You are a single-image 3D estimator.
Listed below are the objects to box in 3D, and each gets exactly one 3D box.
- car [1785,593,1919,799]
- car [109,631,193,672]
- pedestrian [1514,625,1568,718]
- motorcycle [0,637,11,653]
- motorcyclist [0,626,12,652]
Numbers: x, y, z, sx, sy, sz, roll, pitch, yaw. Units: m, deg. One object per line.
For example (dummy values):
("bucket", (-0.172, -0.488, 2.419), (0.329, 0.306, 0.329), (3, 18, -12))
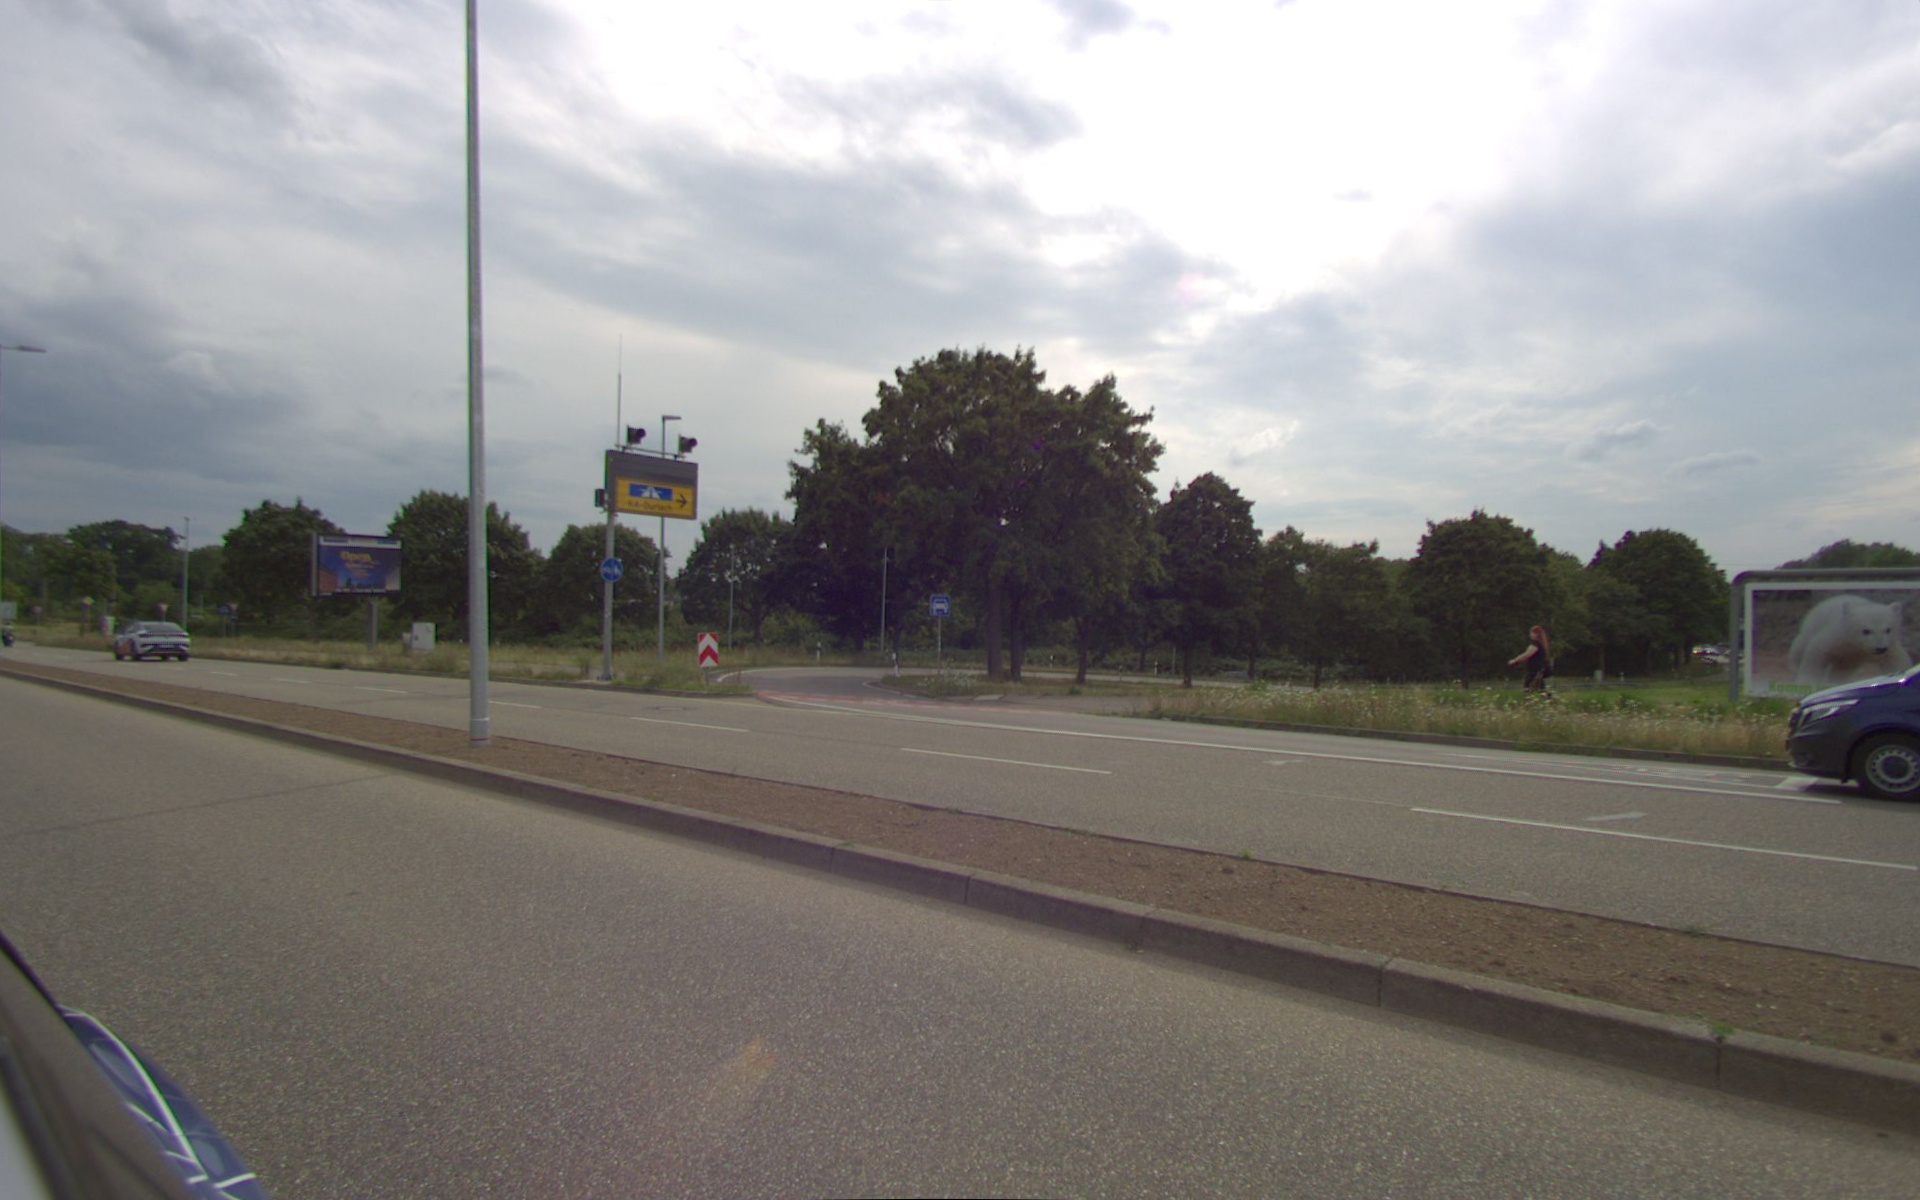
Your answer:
("car", (10.849, 0.912, 8.849), (5.505, 1.908, 1.827), (-2, -5, 43))
("car", (-33.675, 2.081, 42.076), (4.557, 1.613, 1.828), (-1, -2, 40))
("pedestrian", (10.994, 1.343, 19.142), (0.679, 1.706, 0.855), (-2, -4, 44))
("motorcycle", (-61.014, 2.880, 64.461), (2.217, 0.974, 0.517), (-1, -2, 39))
("motorcyclist", (-61.001, 2.485, 64.453), (0.895, 1.600, 0.762), (-2, -3, 39))
